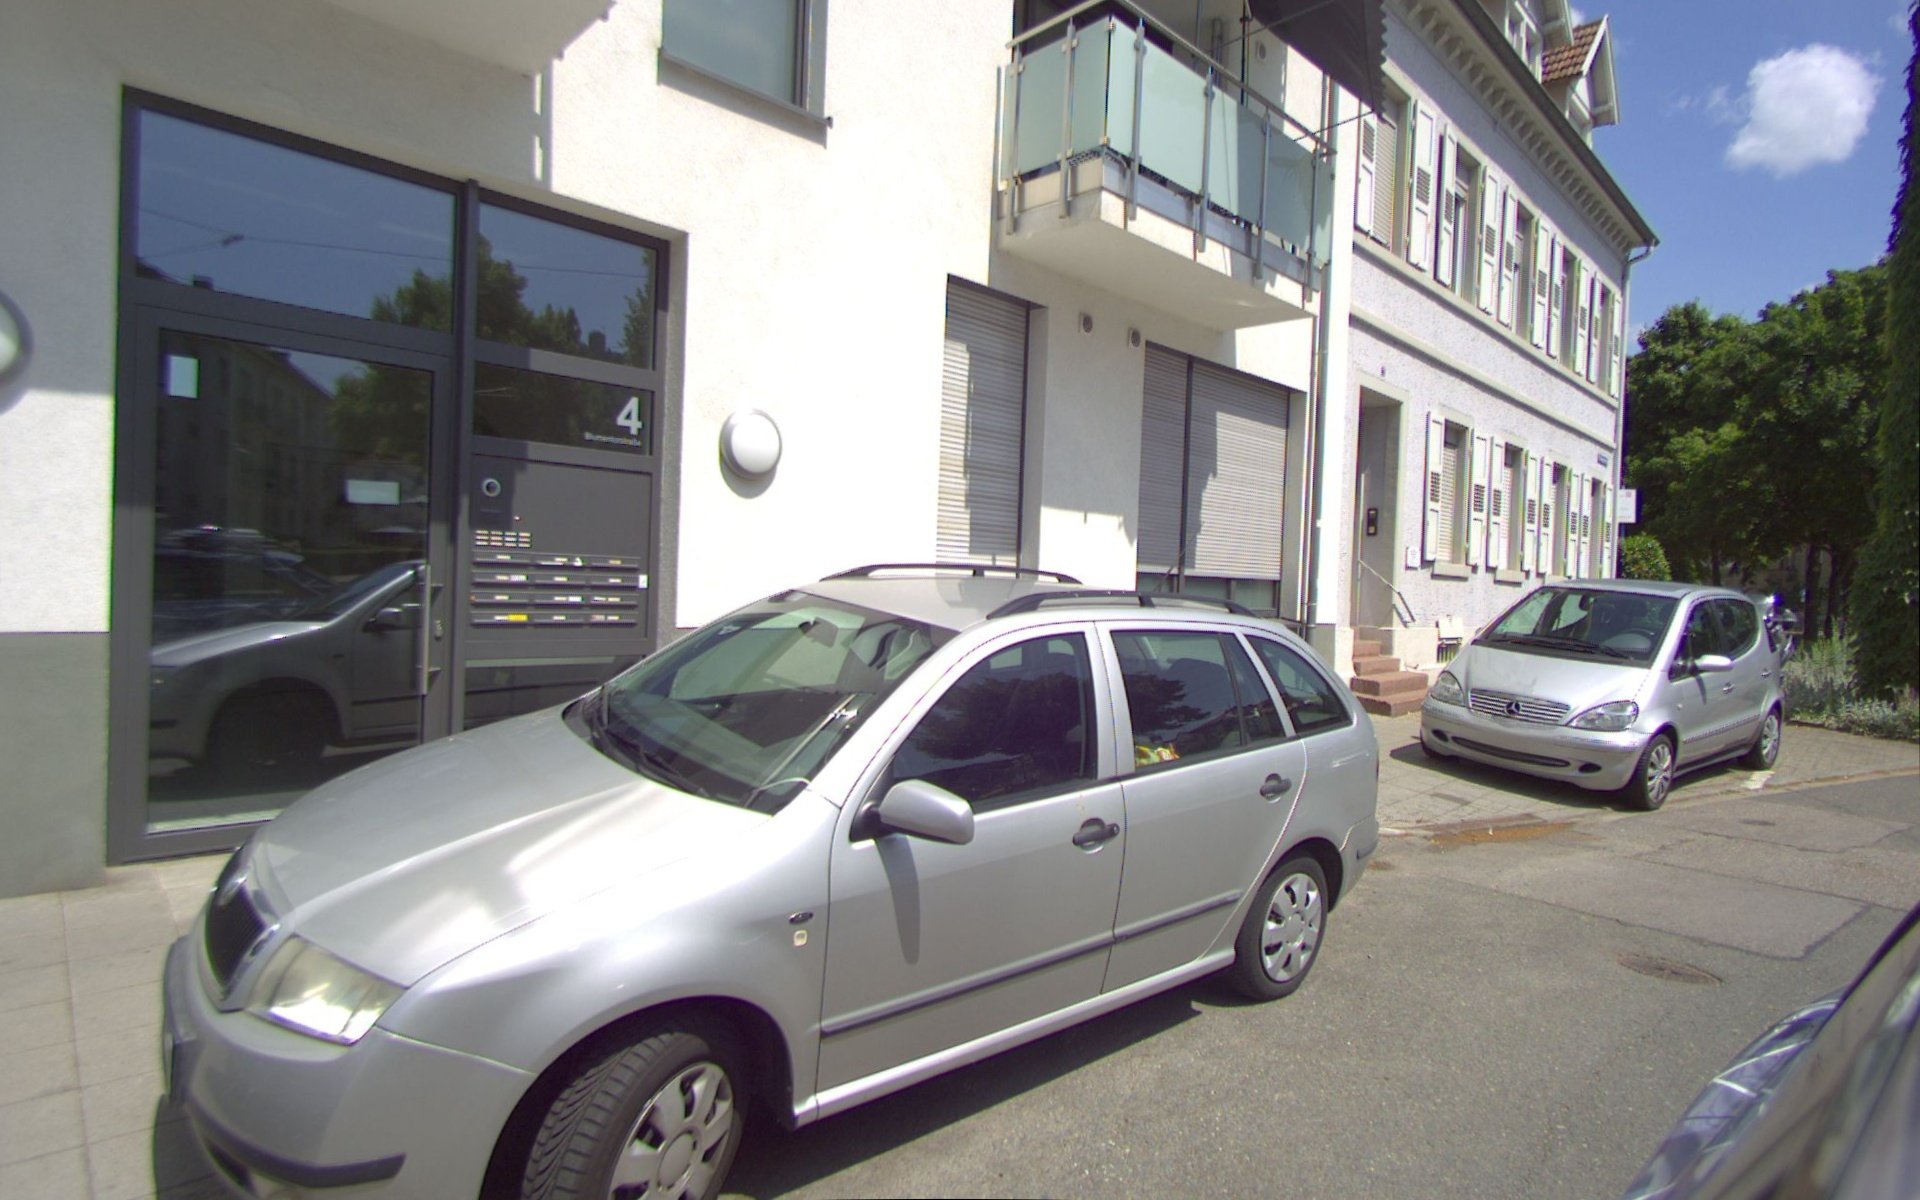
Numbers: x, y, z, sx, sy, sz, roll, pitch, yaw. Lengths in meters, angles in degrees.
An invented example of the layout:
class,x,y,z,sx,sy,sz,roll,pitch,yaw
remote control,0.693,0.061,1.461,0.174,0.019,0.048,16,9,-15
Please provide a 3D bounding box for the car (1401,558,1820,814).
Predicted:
class,x,y,z,sx,sy,sz,roll,pitch,yaw
car,5.602,0.549,8.583,3.730,1.630,1.733,0,4,-37

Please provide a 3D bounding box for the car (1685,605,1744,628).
class,x,y,z,sx,sy,sz,roll,pitch,yaw
car,58.761,1.264,78.926,1.968,1.638,4.172,2,1,11

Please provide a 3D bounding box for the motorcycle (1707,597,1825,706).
class,x,y,z,sx,sy,sz,roll,pitch,yaw
motorcycle,11.224,0.678,14.063,2.296,1.369,0.802,1,1,-40

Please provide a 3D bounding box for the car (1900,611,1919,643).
class,x,y,z,sx,sy,sz,roll,pitch,yaw
car,52.180,1.578,53.687,1.753,1.632,3.853,8,4,18

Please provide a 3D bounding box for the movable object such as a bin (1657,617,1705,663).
class,x,y,z,sx,sy,sz,roll,pitch,yaw
movable object such as a bin,15.955,0.883,22.387,0.621,0.973,0.618,1,1,-27

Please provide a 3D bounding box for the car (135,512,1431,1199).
class,x,y,z,sx,sy,sz,roll,pitch,yaw
car,-0.234,0.588,3.450,3.971,1.449,1.732,1,6,-40

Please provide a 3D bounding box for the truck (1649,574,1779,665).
class,x,y,z,sx,sy,sz,roll,pitch,yaw
truck,18.978,0.445,25.707,1.901,1.950,5.225,4,2,30
